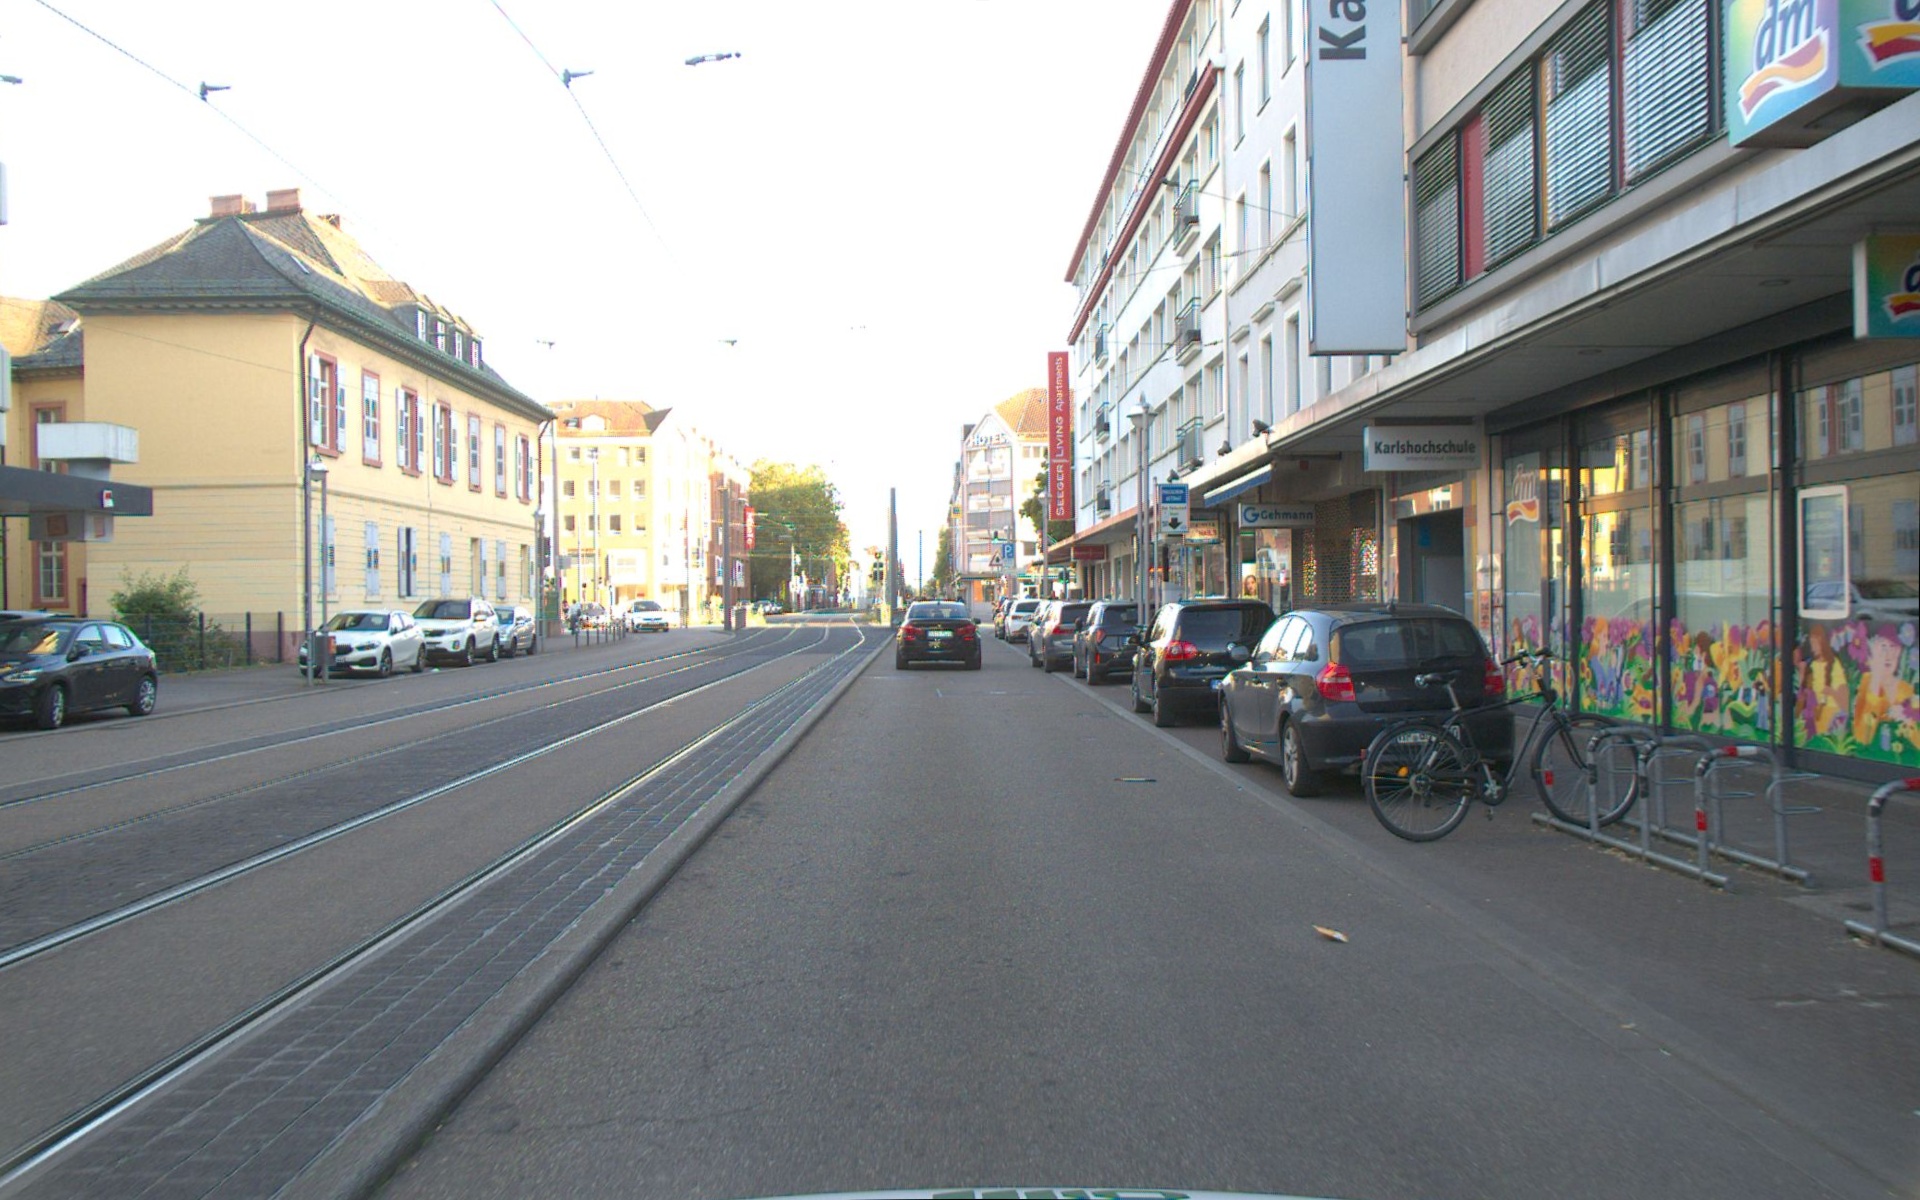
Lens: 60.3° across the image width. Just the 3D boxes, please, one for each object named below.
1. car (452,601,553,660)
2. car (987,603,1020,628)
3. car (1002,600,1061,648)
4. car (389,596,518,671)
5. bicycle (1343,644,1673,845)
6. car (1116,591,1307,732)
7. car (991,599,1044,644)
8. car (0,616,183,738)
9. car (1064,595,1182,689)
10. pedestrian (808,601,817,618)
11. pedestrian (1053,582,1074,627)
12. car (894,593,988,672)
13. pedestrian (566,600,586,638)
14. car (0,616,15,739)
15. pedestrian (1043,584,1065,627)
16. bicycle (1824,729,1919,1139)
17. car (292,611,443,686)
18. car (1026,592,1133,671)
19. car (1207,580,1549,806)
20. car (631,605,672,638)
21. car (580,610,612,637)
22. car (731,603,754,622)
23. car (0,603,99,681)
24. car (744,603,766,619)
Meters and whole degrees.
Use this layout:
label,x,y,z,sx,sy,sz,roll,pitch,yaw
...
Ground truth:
label,x,y,z,sx,sy,sz,roll,pitch,yaw
car,-13.592,0.862,49.399,1.775,1.645,4.215,-1,0,1
car,2.861,1.038,109.142,1.953,1.579,3.999,-1,0,-1
car,2.416,0.794,56.584,1.749,1.538,4.051,-2,0,-1
car,-13.198,0.849,43.384,1.775,1.817,4.499,2,0,2
bicycle,3.432,0.887,10.438,1.848,1.158,0.676,-1,0,-4
car,3.067,0.702,20.927,1.685,1.538,4.166,-2,0,-1
car,2.111,0.783,61.771,1.700,1.538,4.685,-2,0,-1
car,-12.955,1.033,23.724,1.651,1.538,4.214,-1,0,-1
car,2.911,0.709,30.248,1.651,1.538,4.034,-2,0,-1
pedestrian,-17.428,1.121,195.702,0.968,2.049,0.725,1,-1,-3
pedestrian,4.167,0.174,66.774,0.714,1.771,0.863,-2,0,-1
car,-0.444,0.679,36.733,1.953,1.612,3.999,-1,0,-1
pedestrian,-16.918,0.829,72.820,0.717,1.612,0.954,-1,0,-6
car,-12.859,0.973,18.968,1.651,1.538,4.214,1,0,-1
pedestrian,3.859,0.221,67.876,0.810,1.748,0.843,-2,0,-1
bicycle,3.561,0.901,4.693,1.848,1.095,0.676,-3,0,-4
car,-13.361,1.046,37.599,1.775,1.538,4.432,-1,0,1
car,2.532,0.636,35.949,1.754,1.538,4.709,-2,0,-2
car,3.305,0.664,13.943,1.708,1.538,4.257,-2,0,-1
car,-15.048,1.022,80.453,1.775,1.538,4.021,-1,0,-13
car,-21.594,1.397,98.288,1.704,1.538,4.024,-1,0,-10
car,-21.969,1.262,167.560,1.954,1.934,4.808,-1,0,-4
car,-19.753,0.853,33.251,3.905,1.492,1.846,-1,0,1
car,-22.109,1.189,178.467,1.954,1.612,4.583,-1,0,-4
